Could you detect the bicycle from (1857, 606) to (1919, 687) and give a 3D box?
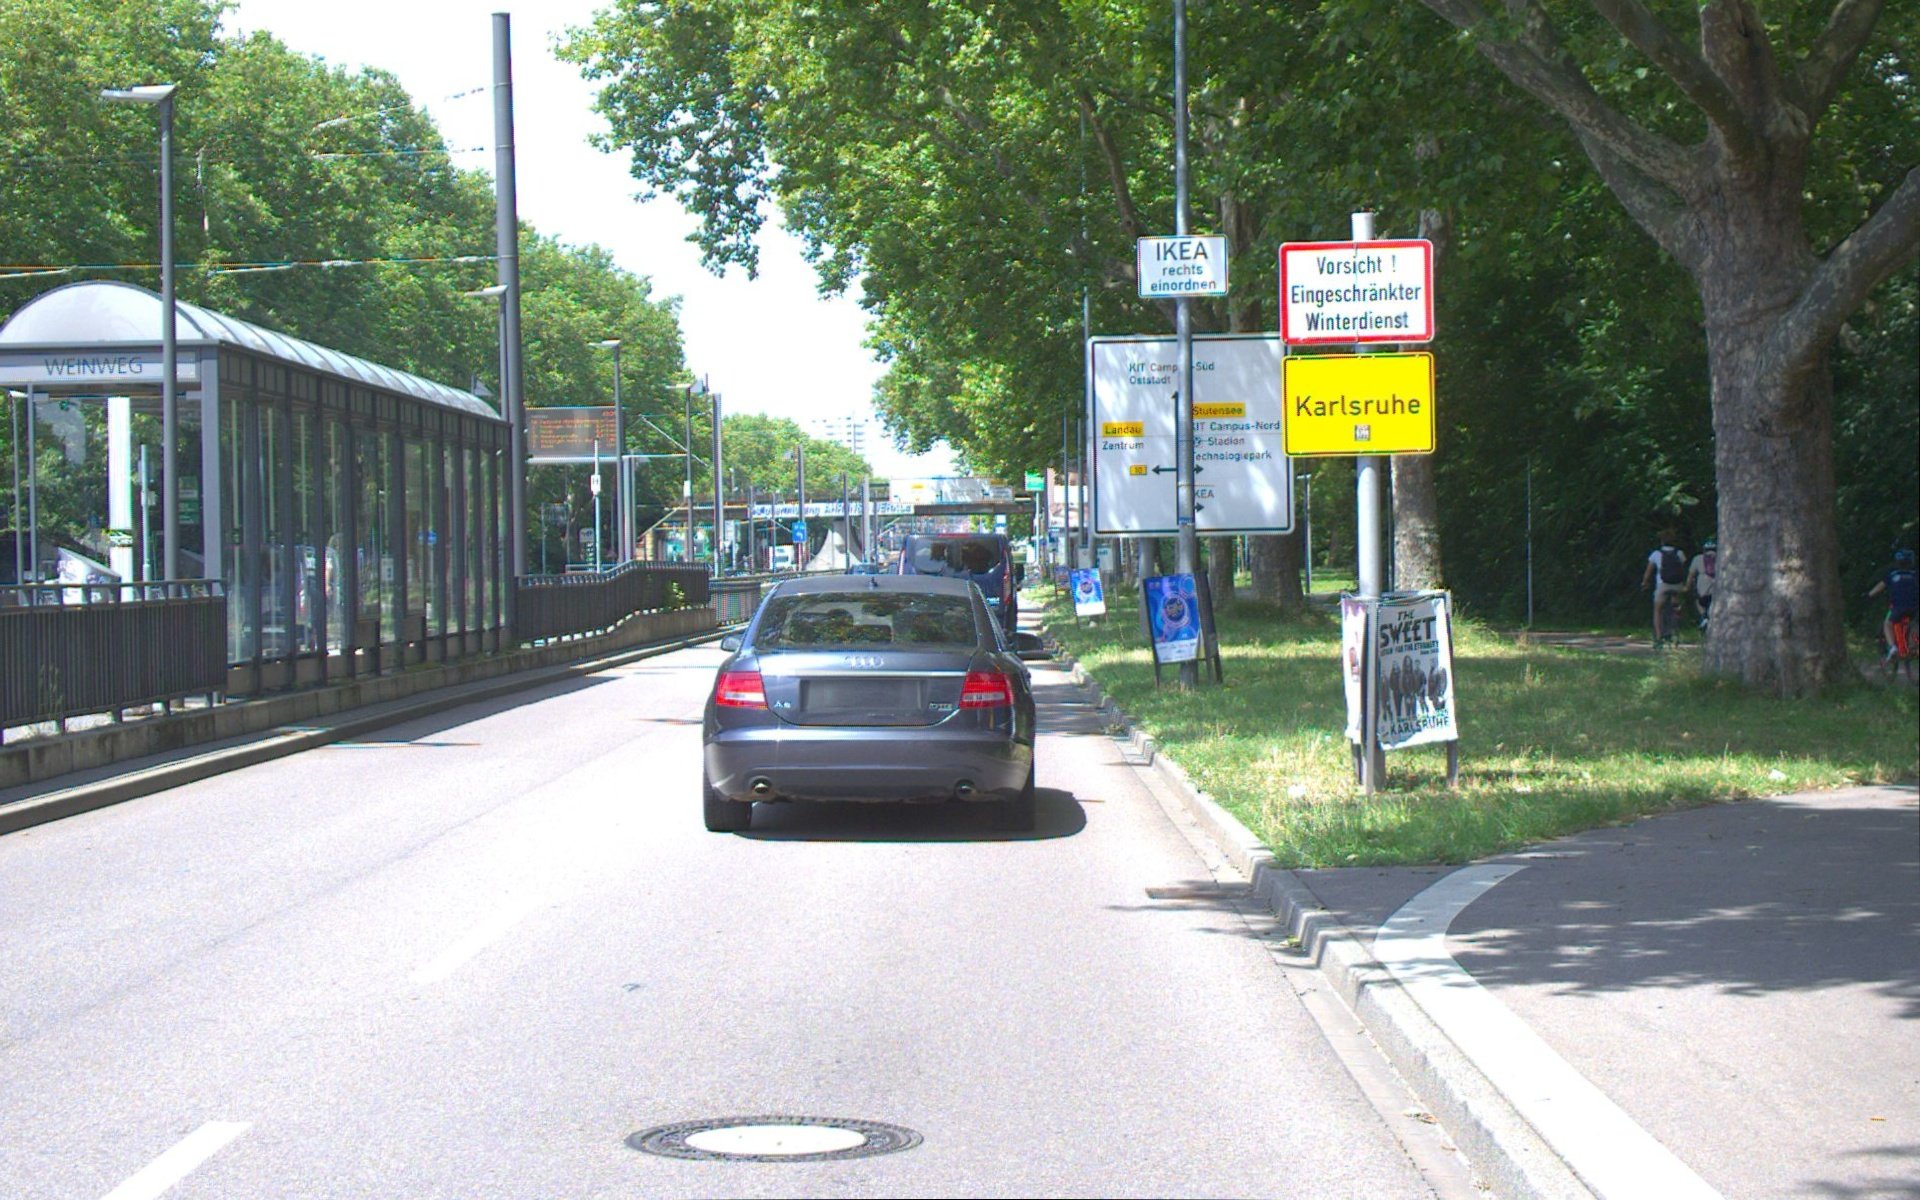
[{"bbox_3d":[10.960,0.528,39.923,0.645,0.884,2.023,0,1,3],"label":"bicycle"}]

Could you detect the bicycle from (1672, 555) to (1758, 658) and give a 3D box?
[{"bbox_3d":[10.724,0.072,48.903,0.610,1.415,2.662,-1,1,0],"label":"bicycle"}]

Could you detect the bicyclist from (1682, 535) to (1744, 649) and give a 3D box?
[{"bbox_3d":[10.731,-0.116,49.010,0.658,1.593,1.053,0,0,1],"label":"bicyclist"}]

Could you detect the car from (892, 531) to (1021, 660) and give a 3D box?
[{"bbox_3d":[-0.023,-0.084,54.810,1.848,1.953,4.144,1,1,3],"label":"car"}]

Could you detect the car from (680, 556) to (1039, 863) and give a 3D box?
[{"bbox_3d":[-0.548,0.545,19.860,1.842,1.479,4.001,-1,2,-1],"label":"car"}]

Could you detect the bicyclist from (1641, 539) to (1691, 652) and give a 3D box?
[{"bbox_3d":[10.964,-0.076,53.399,0.597,1.740,0.843,0,1,0],"label":"bicyclist"}]

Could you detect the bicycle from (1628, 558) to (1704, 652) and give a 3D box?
[{"bbox_3d":[10.924,0.061,53.276,0.610,1.415,2.662,-1,1,0],"label":"bicycle"}]

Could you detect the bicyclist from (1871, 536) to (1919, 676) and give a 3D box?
[{"bbox_3d":[10.965,0.066,39.914,0.623,1.604,0.816,0,1,7],"label":"bicyclist"}]
